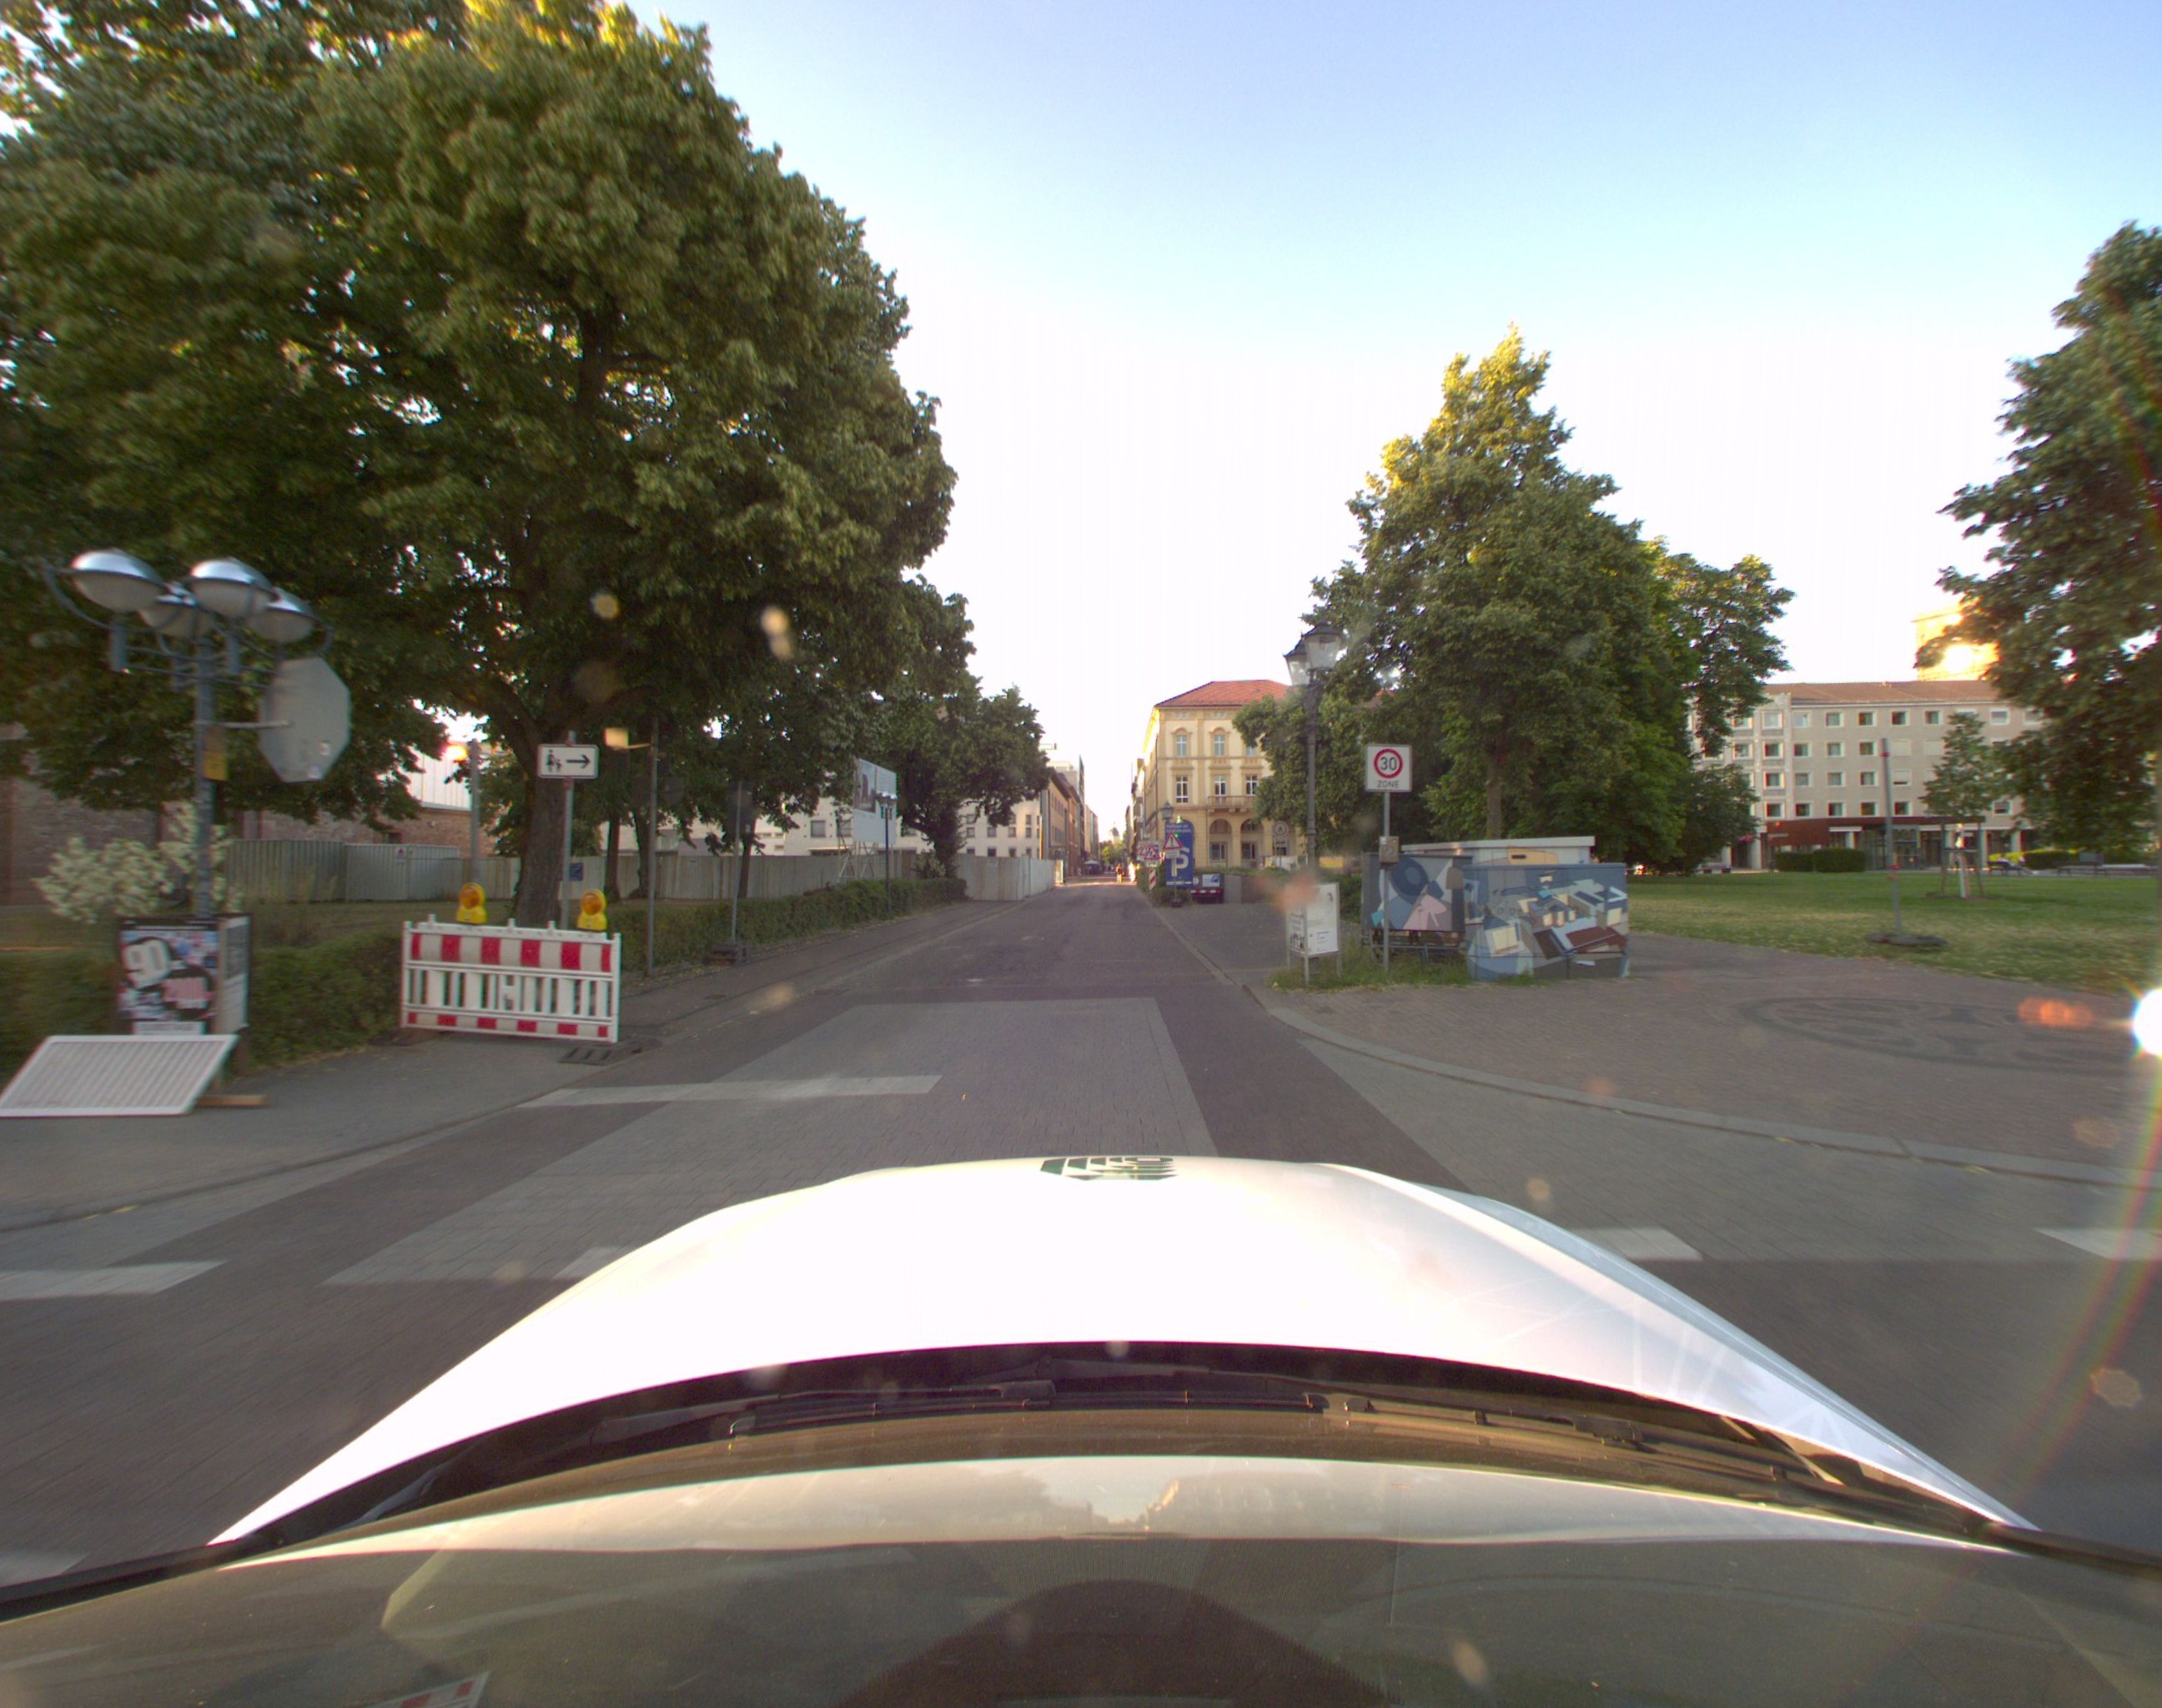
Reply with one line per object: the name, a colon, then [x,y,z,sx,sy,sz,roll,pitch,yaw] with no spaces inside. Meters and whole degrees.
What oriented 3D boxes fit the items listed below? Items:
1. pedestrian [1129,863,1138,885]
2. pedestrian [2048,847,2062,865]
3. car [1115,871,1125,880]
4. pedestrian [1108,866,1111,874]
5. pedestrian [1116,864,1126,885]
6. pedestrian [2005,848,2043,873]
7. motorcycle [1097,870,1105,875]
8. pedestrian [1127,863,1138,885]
pedestrian: [4.398,1.642,67.864,0.634,1.803,0.772,-2,-1,1]
pedestrian: [72.695,0.148,60.779,1.038,1.367,0.644,0,-1,-38]
car: [6.346,3.477,133.266,1.643,1.427,3.537,1,-1,3]
pedestrian: [6.377,3.544,182.360,0.801,1.673,0.889,-1,-1,4]
pedestrian: [3.382,1.707,69.130,0.773,1.746,0.875,-2,-1,1]
pedestrian: [51.013,0.357,44.054,1.056,1.292,0.848,-1,0,20]
motorcycle: [4.290,3.926,173.199,1.797,0.875,0.560,-1,-1,-2]
pedestrian: [4.357,1.688,69.168,0.809,1.875,0.875,-2,-1,1]
